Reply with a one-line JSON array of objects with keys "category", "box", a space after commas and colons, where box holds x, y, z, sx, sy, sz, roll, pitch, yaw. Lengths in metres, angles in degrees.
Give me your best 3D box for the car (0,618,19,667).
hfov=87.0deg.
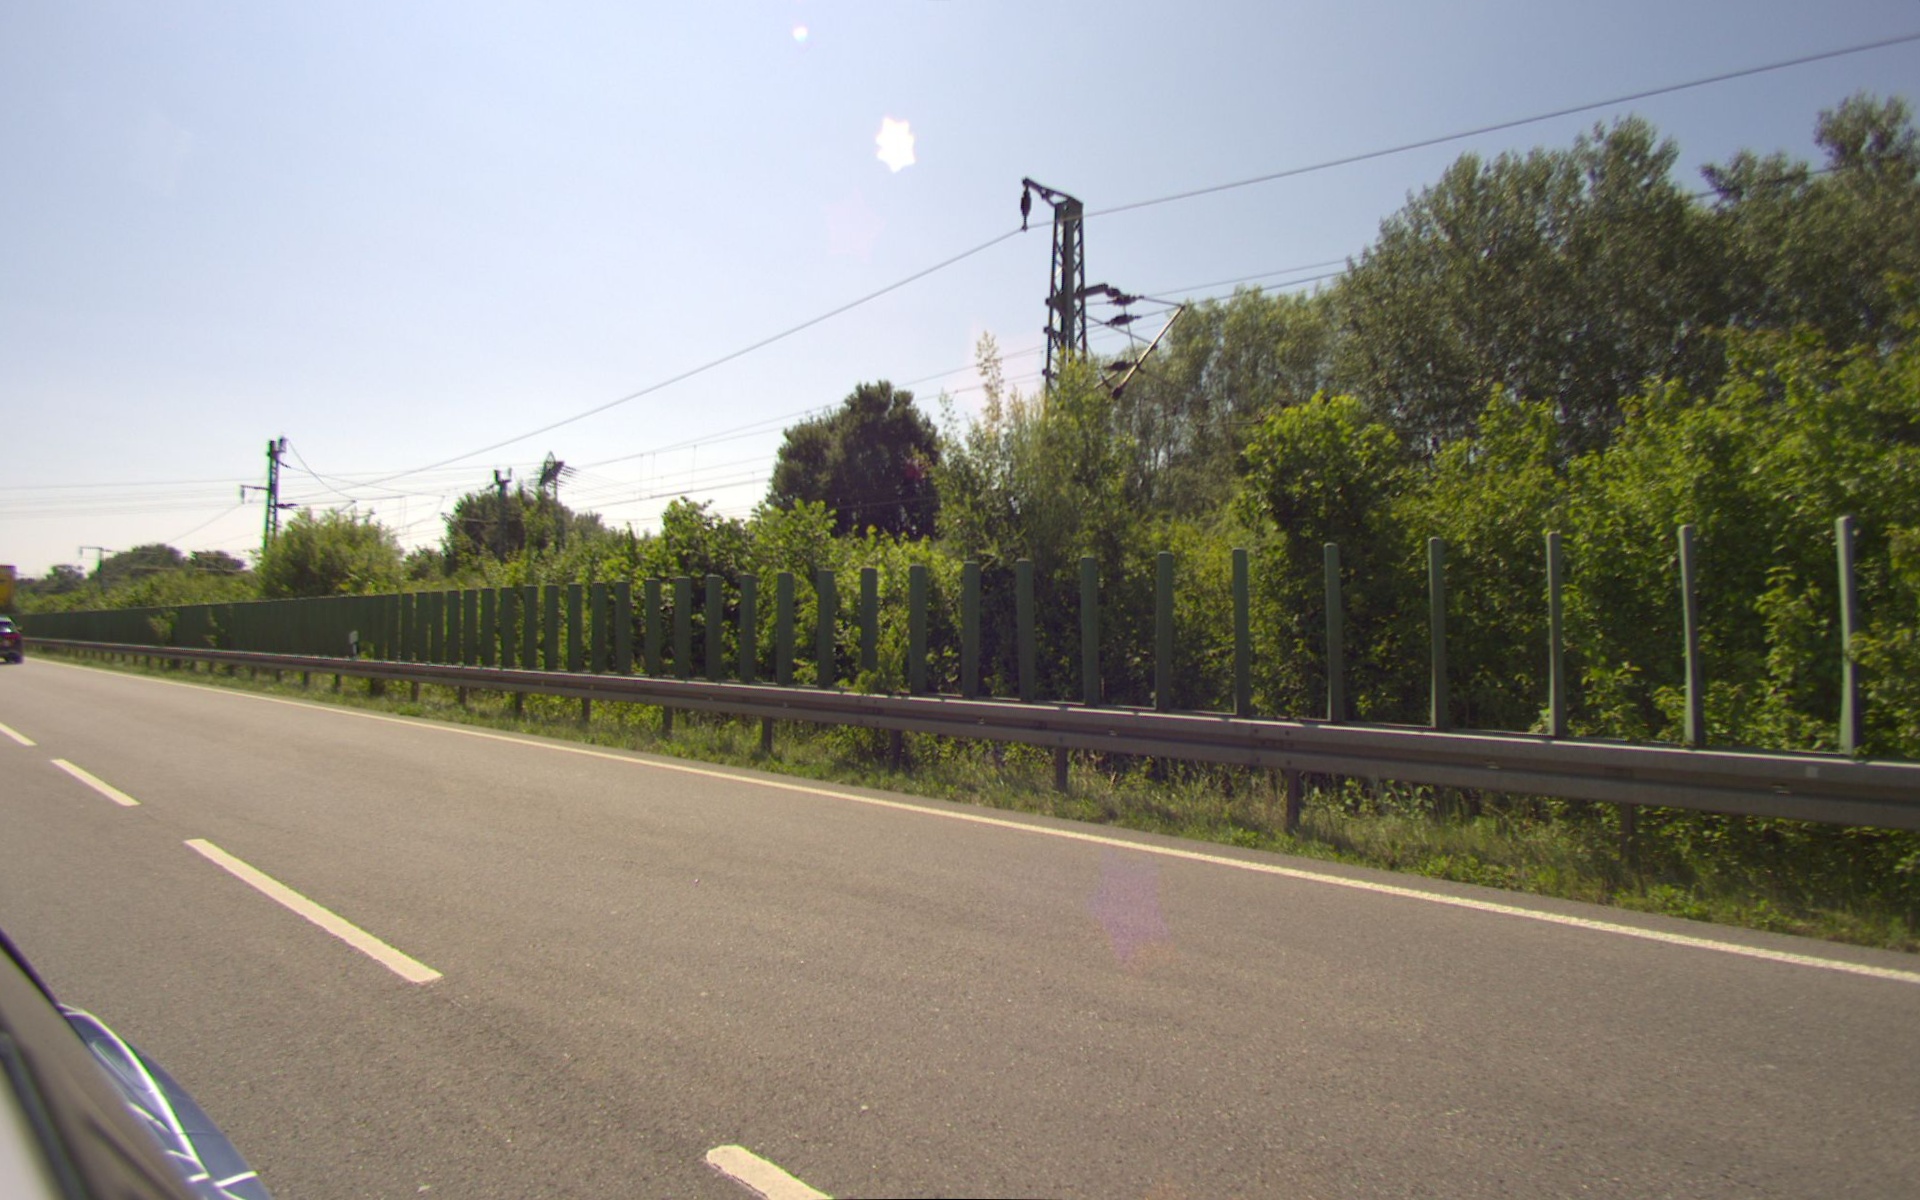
[{"category": "car", "box": [-35.836, 1.549, 36.896, 4.704, 1.707, 1.795, -2, -2, 42]}]
